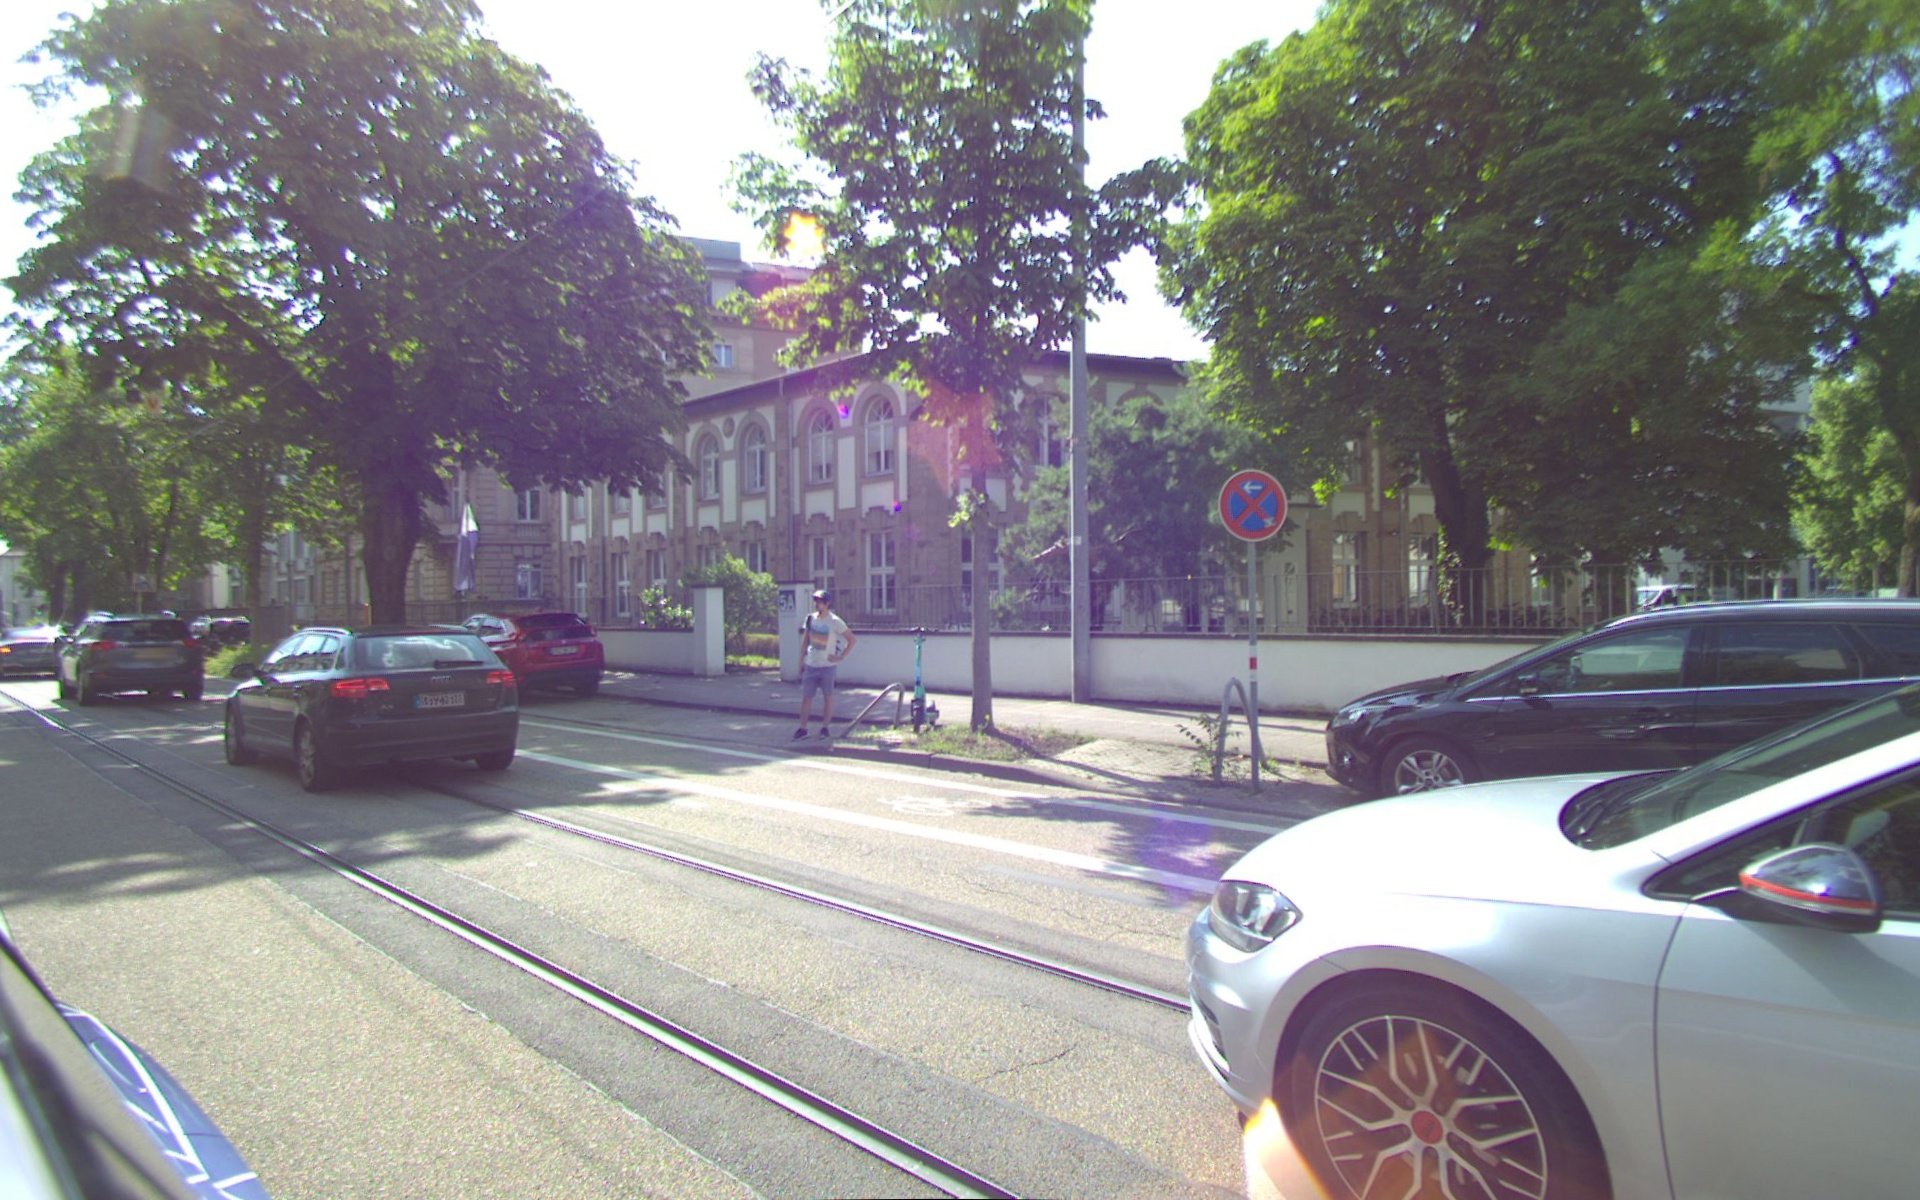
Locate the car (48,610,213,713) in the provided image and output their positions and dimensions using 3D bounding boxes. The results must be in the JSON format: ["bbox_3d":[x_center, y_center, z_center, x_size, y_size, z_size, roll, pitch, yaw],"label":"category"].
[{"bbox_3d":[-15.948,1.084,19.381,4.390,1.740,1.806,-1,-2,42],"label":"car"}]

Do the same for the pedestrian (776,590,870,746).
[{"bbox_3d":[-1.631,0.783,12.110,0.750,1.780,0.782,-1,1,33],"label":"pedestrian"}]

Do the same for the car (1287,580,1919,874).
[{"bbox_3d":[4.750,0.675,6.707,4.588,1.527,1.732,-1,1,39],"label":"car"}]

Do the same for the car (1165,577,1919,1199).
[{"bbox_3d":[2.537,0.682,1.973,3.851,1.427,1.754,-1,-2,42],"label":"car"}]

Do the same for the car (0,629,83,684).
[{"bbox_3d":[-25.499,1.488,27.653,4.425,1.399,1.780,-2,-2,42],"label":"car"}]

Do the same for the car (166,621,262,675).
[{"bbox_3d":[-25.650,1.602,34.752,4.330,1.653,1.788,-1,1,42],"label":"car"}]

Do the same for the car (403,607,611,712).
[{"bbox_3d":[-8.594,1.022,18.990,4.719,1.678,1.732,-1,1,41],"label":"car"}]

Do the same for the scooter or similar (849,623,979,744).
[{"bbox_3d":[-0.537,0.950,12.073,0.854,1.289,1.325,-1,1,41],"label":"scooter or similar"}]

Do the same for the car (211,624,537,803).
[{"bbox_3d":[-5.876,0.941,9.948,4.000,1.386,1.704,-1,-2,43],"label":"car"}]

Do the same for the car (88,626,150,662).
[{"bbox_3d":[-39.240,2.022,47.177,3.807,1.496,1.637,-1,1,41],"label":"car"}]
